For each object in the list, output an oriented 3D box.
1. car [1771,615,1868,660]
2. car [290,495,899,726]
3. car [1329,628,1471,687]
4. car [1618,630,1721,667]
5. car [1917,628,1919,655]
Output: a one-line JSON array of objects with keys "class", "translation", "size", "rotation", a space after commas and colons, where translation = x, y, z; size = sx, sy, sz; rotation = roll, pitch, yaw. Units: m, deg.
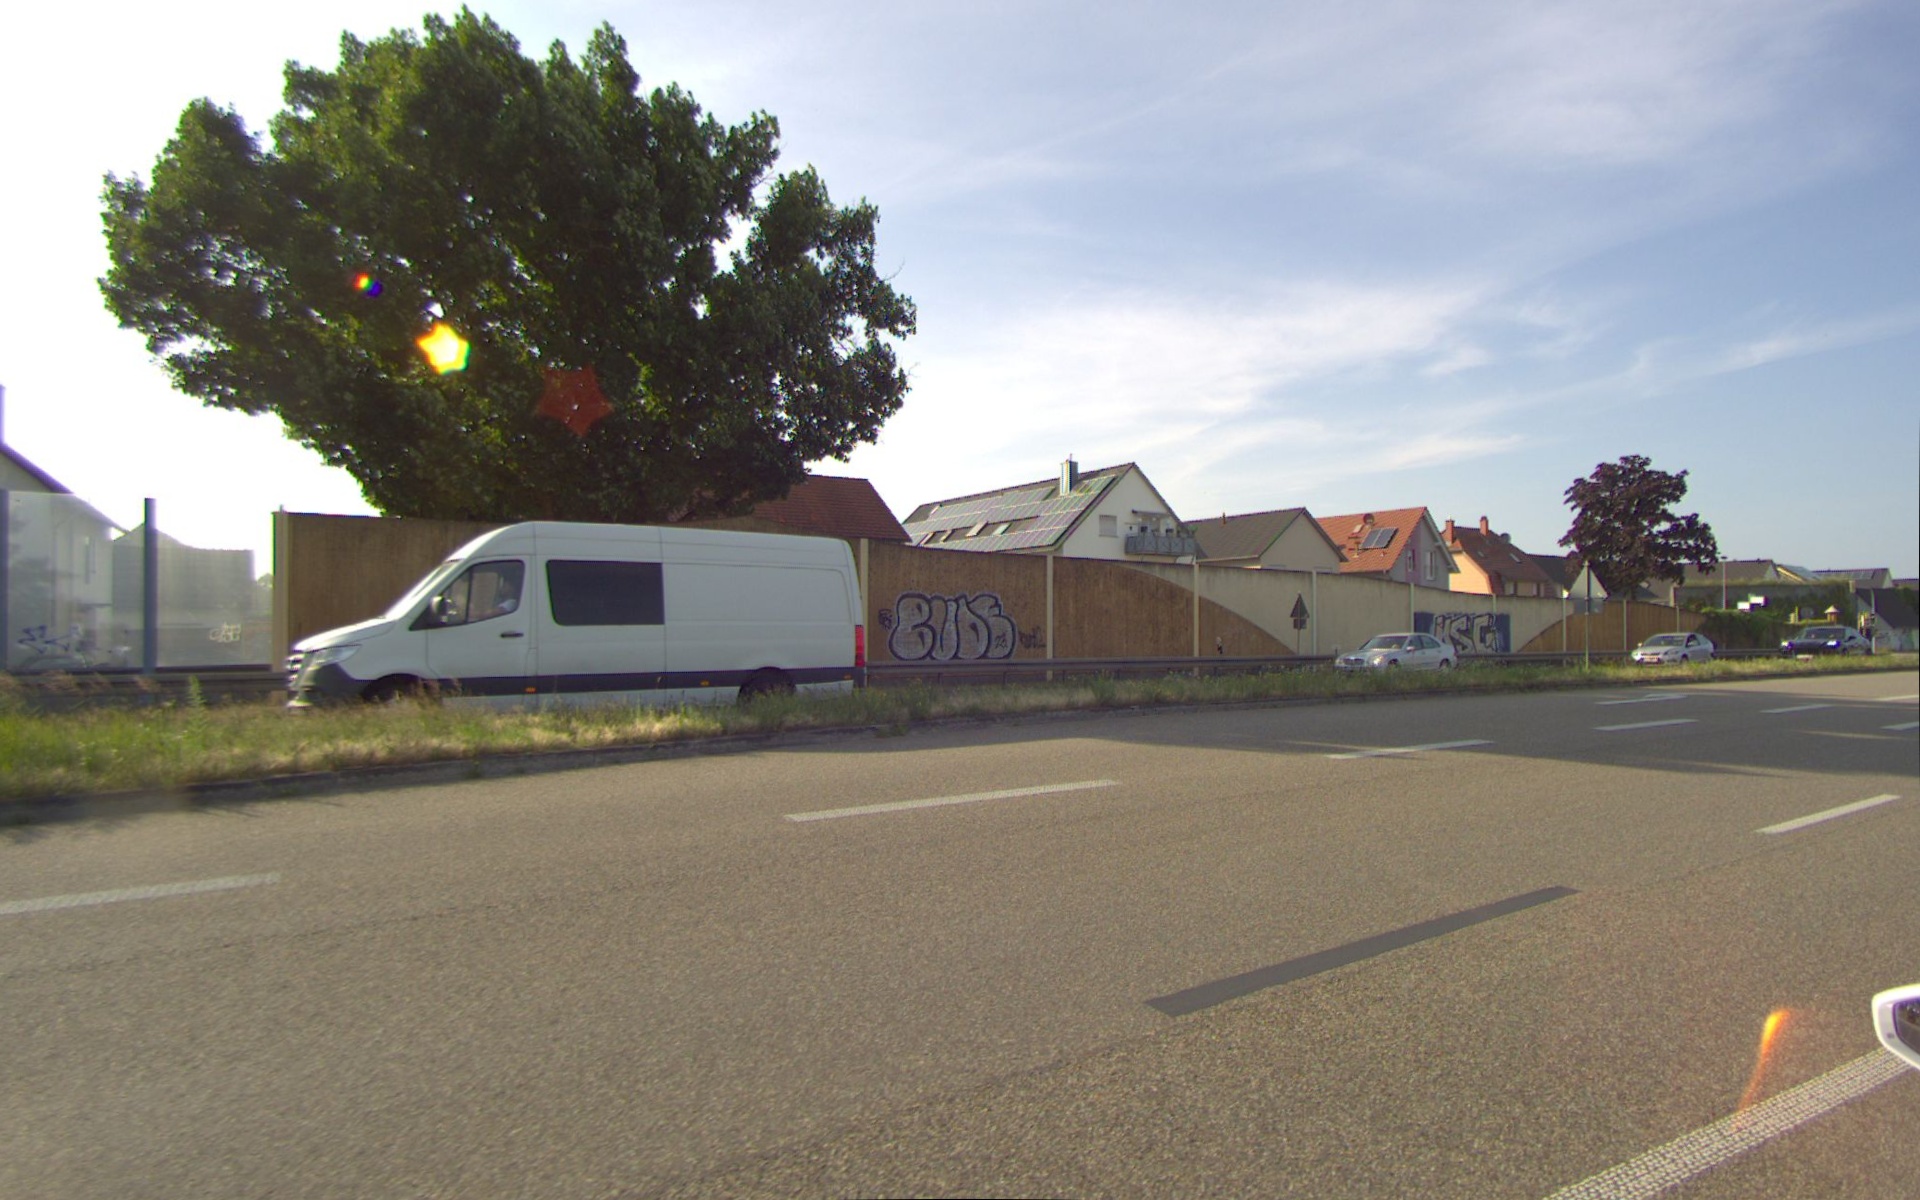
[{"class": "car", "translation": [34.483, 1.479, 40.272], "size": [4.872, 1.647, 1.720], "rotation": [1, 0, -34]}, {"class": "car", "translation": [-4.452, 0.143, 13.126], "size": [7.117, 2.334, 2.333], "rotation": [1, 1, -34]}, {"class": "car", "translation": [13.296, 1.686, 30.255], "size": [4.661, 1.588, 1.641], "rotation": [1, 0, -33]}, {"class": "car", "translation": [28.117, 1.892, 39.791], "size": [4.555, 1.340, 1.769], "rotation": [1, 0, -33]}, {"class": "car", "translation": [62.354, 2.669, 63.390], "size": [4.543, 1.688, 1.964], "rotation": [1, 0, -35]}]
